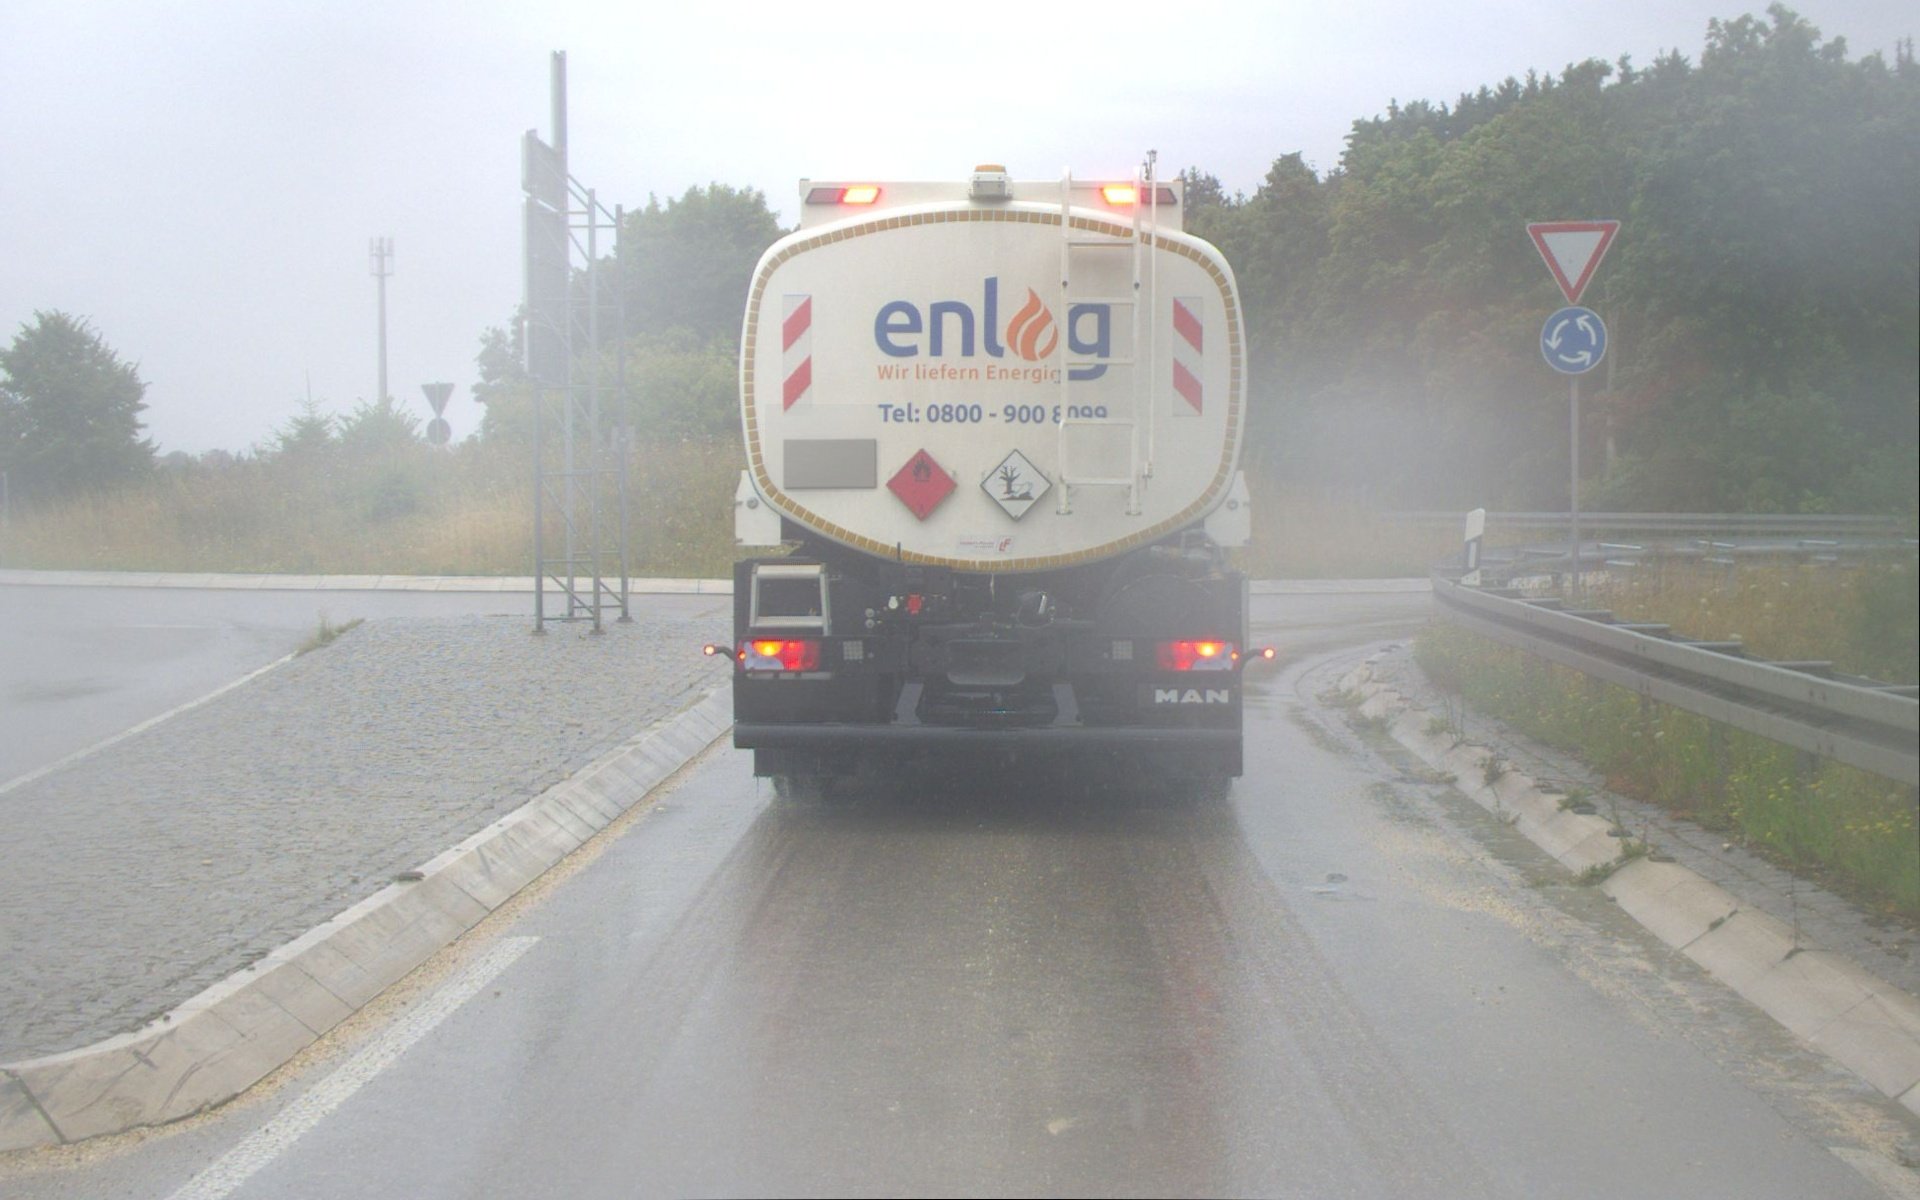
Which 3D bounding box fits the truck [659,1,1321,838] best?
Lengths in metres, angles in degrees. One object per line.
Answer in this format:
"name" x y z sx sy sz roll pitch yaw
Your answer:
"truck" 0.382 -0.978 20.280 3.039 3.838 8.822 0 2 3
